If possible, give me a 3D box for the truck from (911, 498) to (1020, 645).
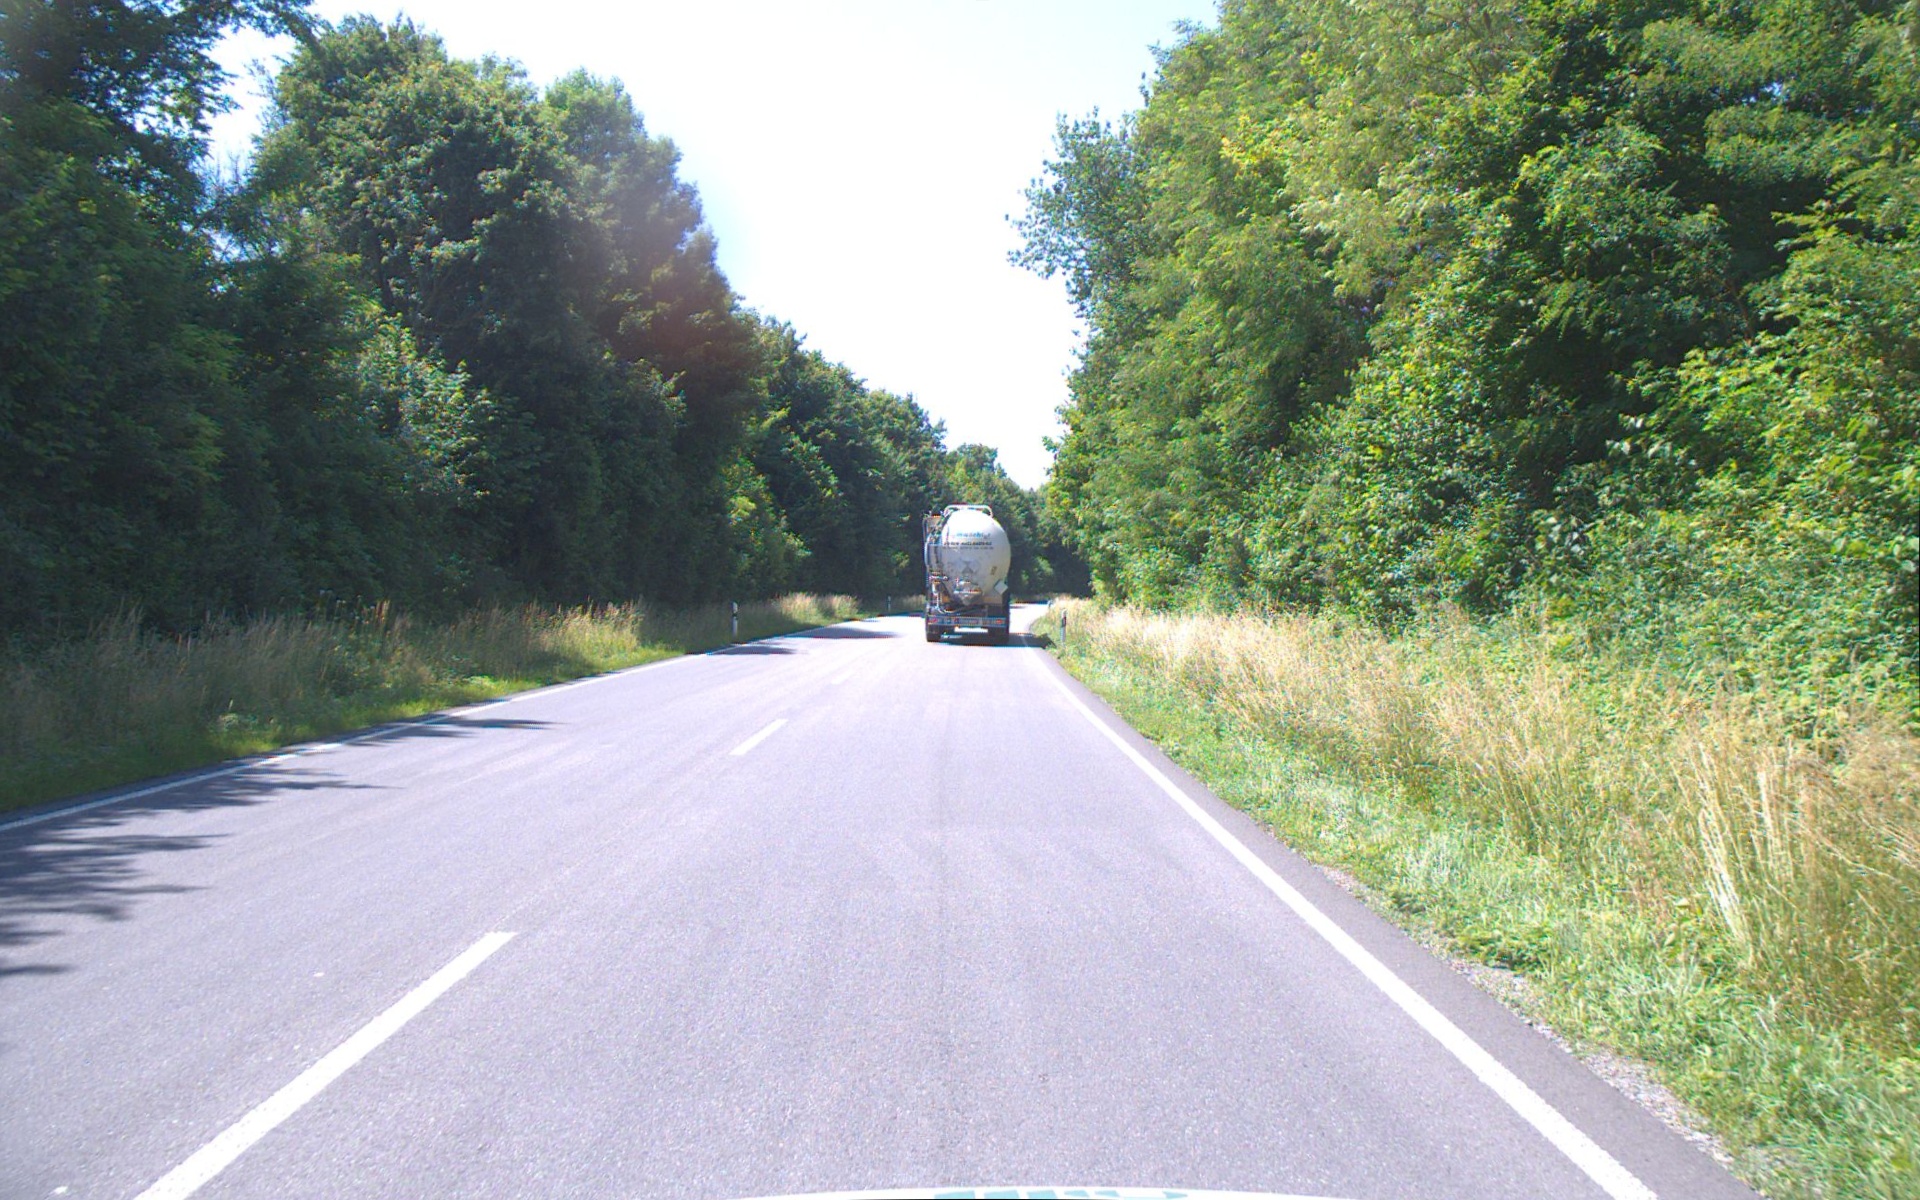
[{"bbox_3d":[0.186,-0.846,54.187,2.987,4.068,15.637,1,0,0],"label":"truck"}]
